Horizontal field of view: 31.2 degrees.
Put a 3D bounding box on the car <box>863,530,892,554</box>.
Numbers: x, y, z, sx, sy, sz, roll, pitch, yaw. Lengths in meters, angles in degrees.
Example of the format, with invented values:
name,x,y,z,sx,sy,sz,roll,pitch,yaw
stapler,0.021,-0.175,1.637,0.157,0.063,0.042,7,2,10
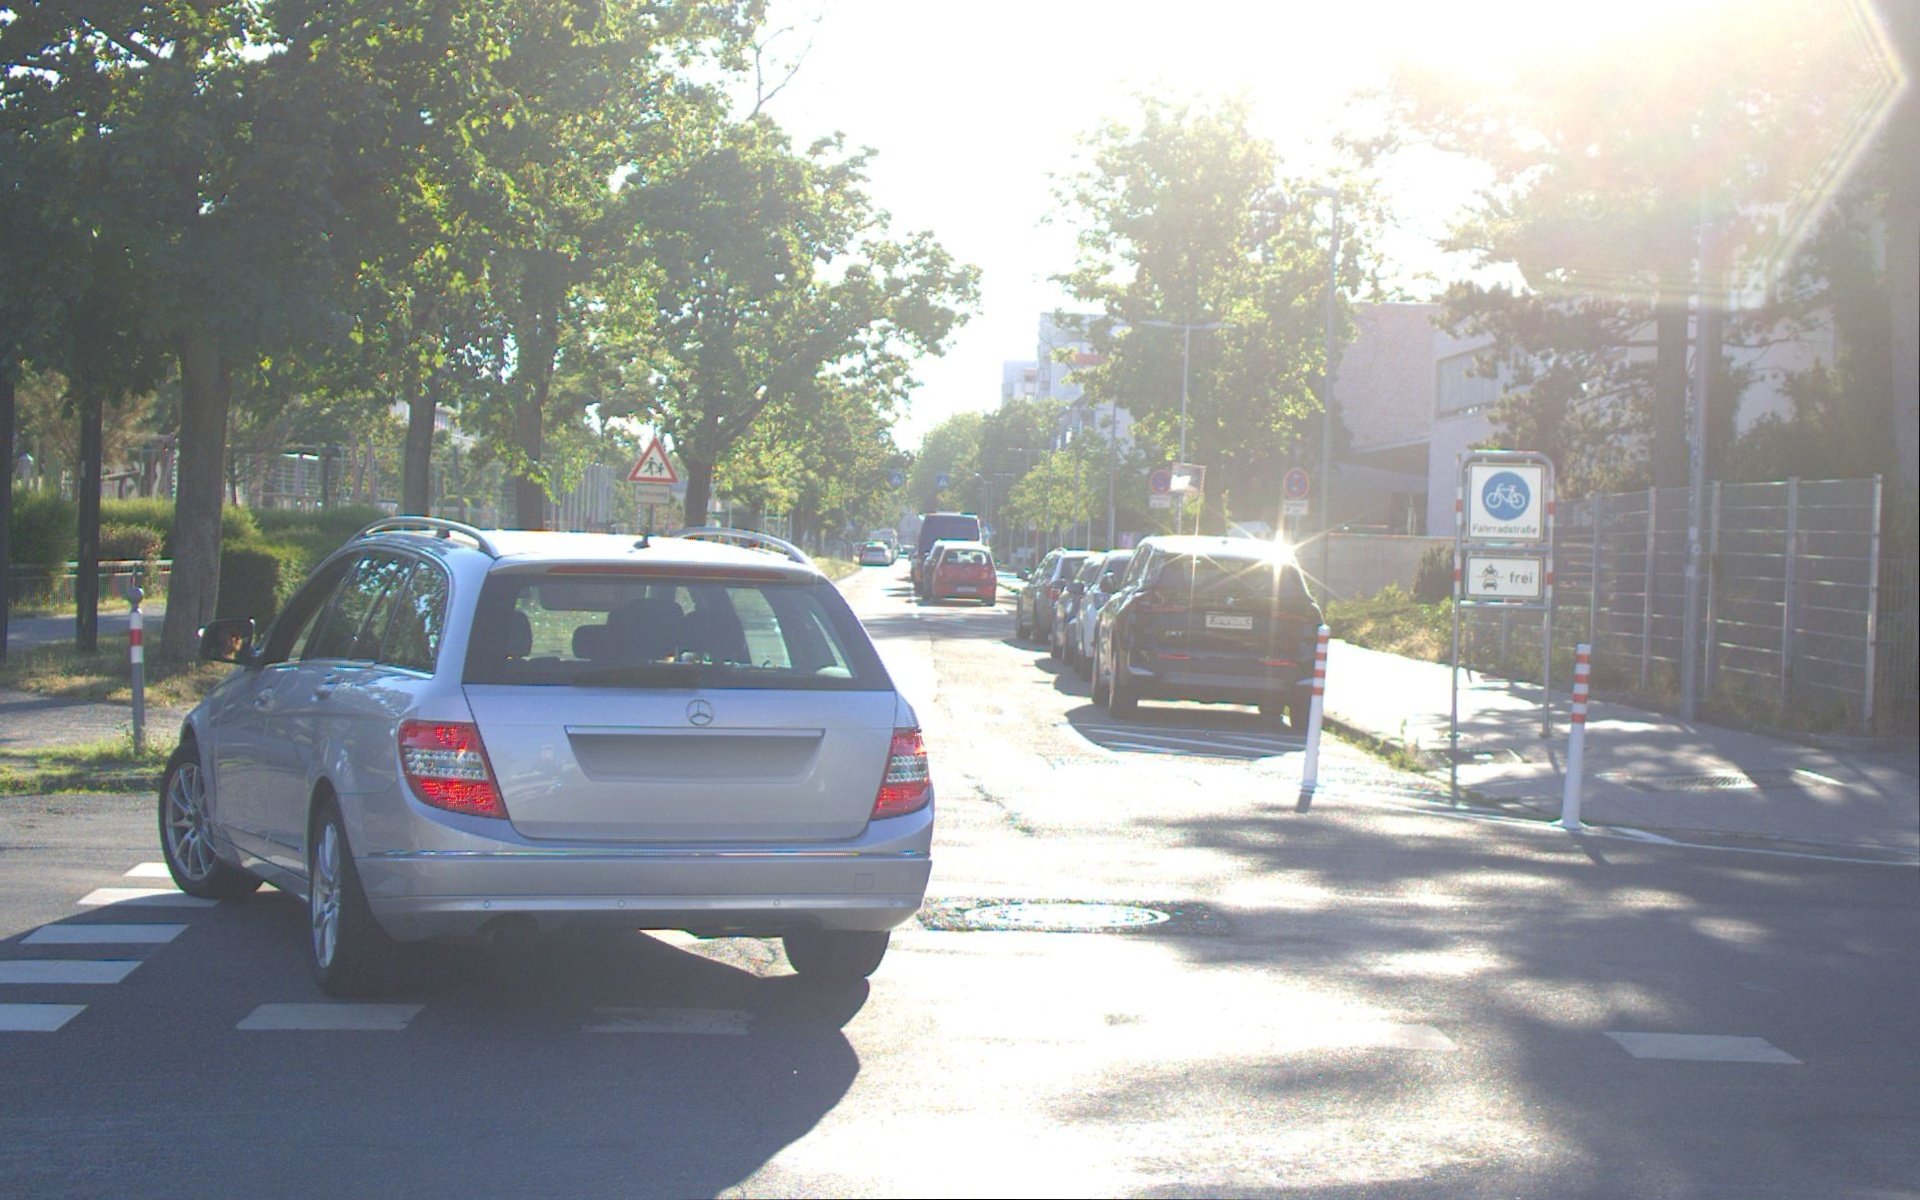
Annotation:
name,x,y,z,sx,sy,sz,roll,pitch,yaw
car,-5.683,-3.986,236.140,1.865,1.612,4.001,2,1,-2

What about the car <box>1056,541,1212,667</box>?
name,x,y,z,sx,sy,sz,roll,pitch,yaw
car,2.216,0.016,44.689,1.730,1.513,3.760,2,1,-1

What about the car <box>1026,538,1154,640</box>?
name,x,y,z,sx,sy,sz,roll,pitch,yaw
car,2.006,-0.194,53.892,1.765,1.521,3.773,1,1,-1

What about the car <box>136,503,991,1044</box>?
name,x,y,z,sx,sy,sz,roll,pitch,yaw
car,-1.542,0.430,11.607,1.816,1.468,4.218,1,1,-21

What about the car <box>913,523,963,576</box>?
name,x,y,z,sx,sy,sz,roll,pitch,yaw
car,-0.947,-2.142,145.592,1.993,2.116,4.000,2,1,-1

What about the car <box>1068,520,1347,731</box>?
name,x,y,z,sx,sy,sz,roll,pitch,yaw
car,2.137,0.177,30.836,1.817,1.636,4.217,4,1,-4

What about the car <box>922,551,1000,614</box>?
name,x,y,z,sx,sy,sz,roll,pitch,yaw
car,0.006,-0.471,88.690,1.756,1.513,3.761,2,1,-3

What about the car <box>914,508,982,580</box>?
name,x,y,z,sx,sy,sz,roll,pitch,yaw
car,-0.386,-1.723,106.416,1.993,2.116,4.000,2,1,-1

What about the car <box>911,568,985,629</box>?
name,x,y,z,sx,sy,sz,roll,pitch,yaw
car,-0.345,-0.055,92.611,1.729,1.513,3.761,2,1,-3

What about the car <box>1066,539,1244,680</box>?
name,x,y,z,sx,sy,sz,roll,pitch,yaw
car,2.206,0.075,39.784,1.765,1.521,3.773,1,1,-1
